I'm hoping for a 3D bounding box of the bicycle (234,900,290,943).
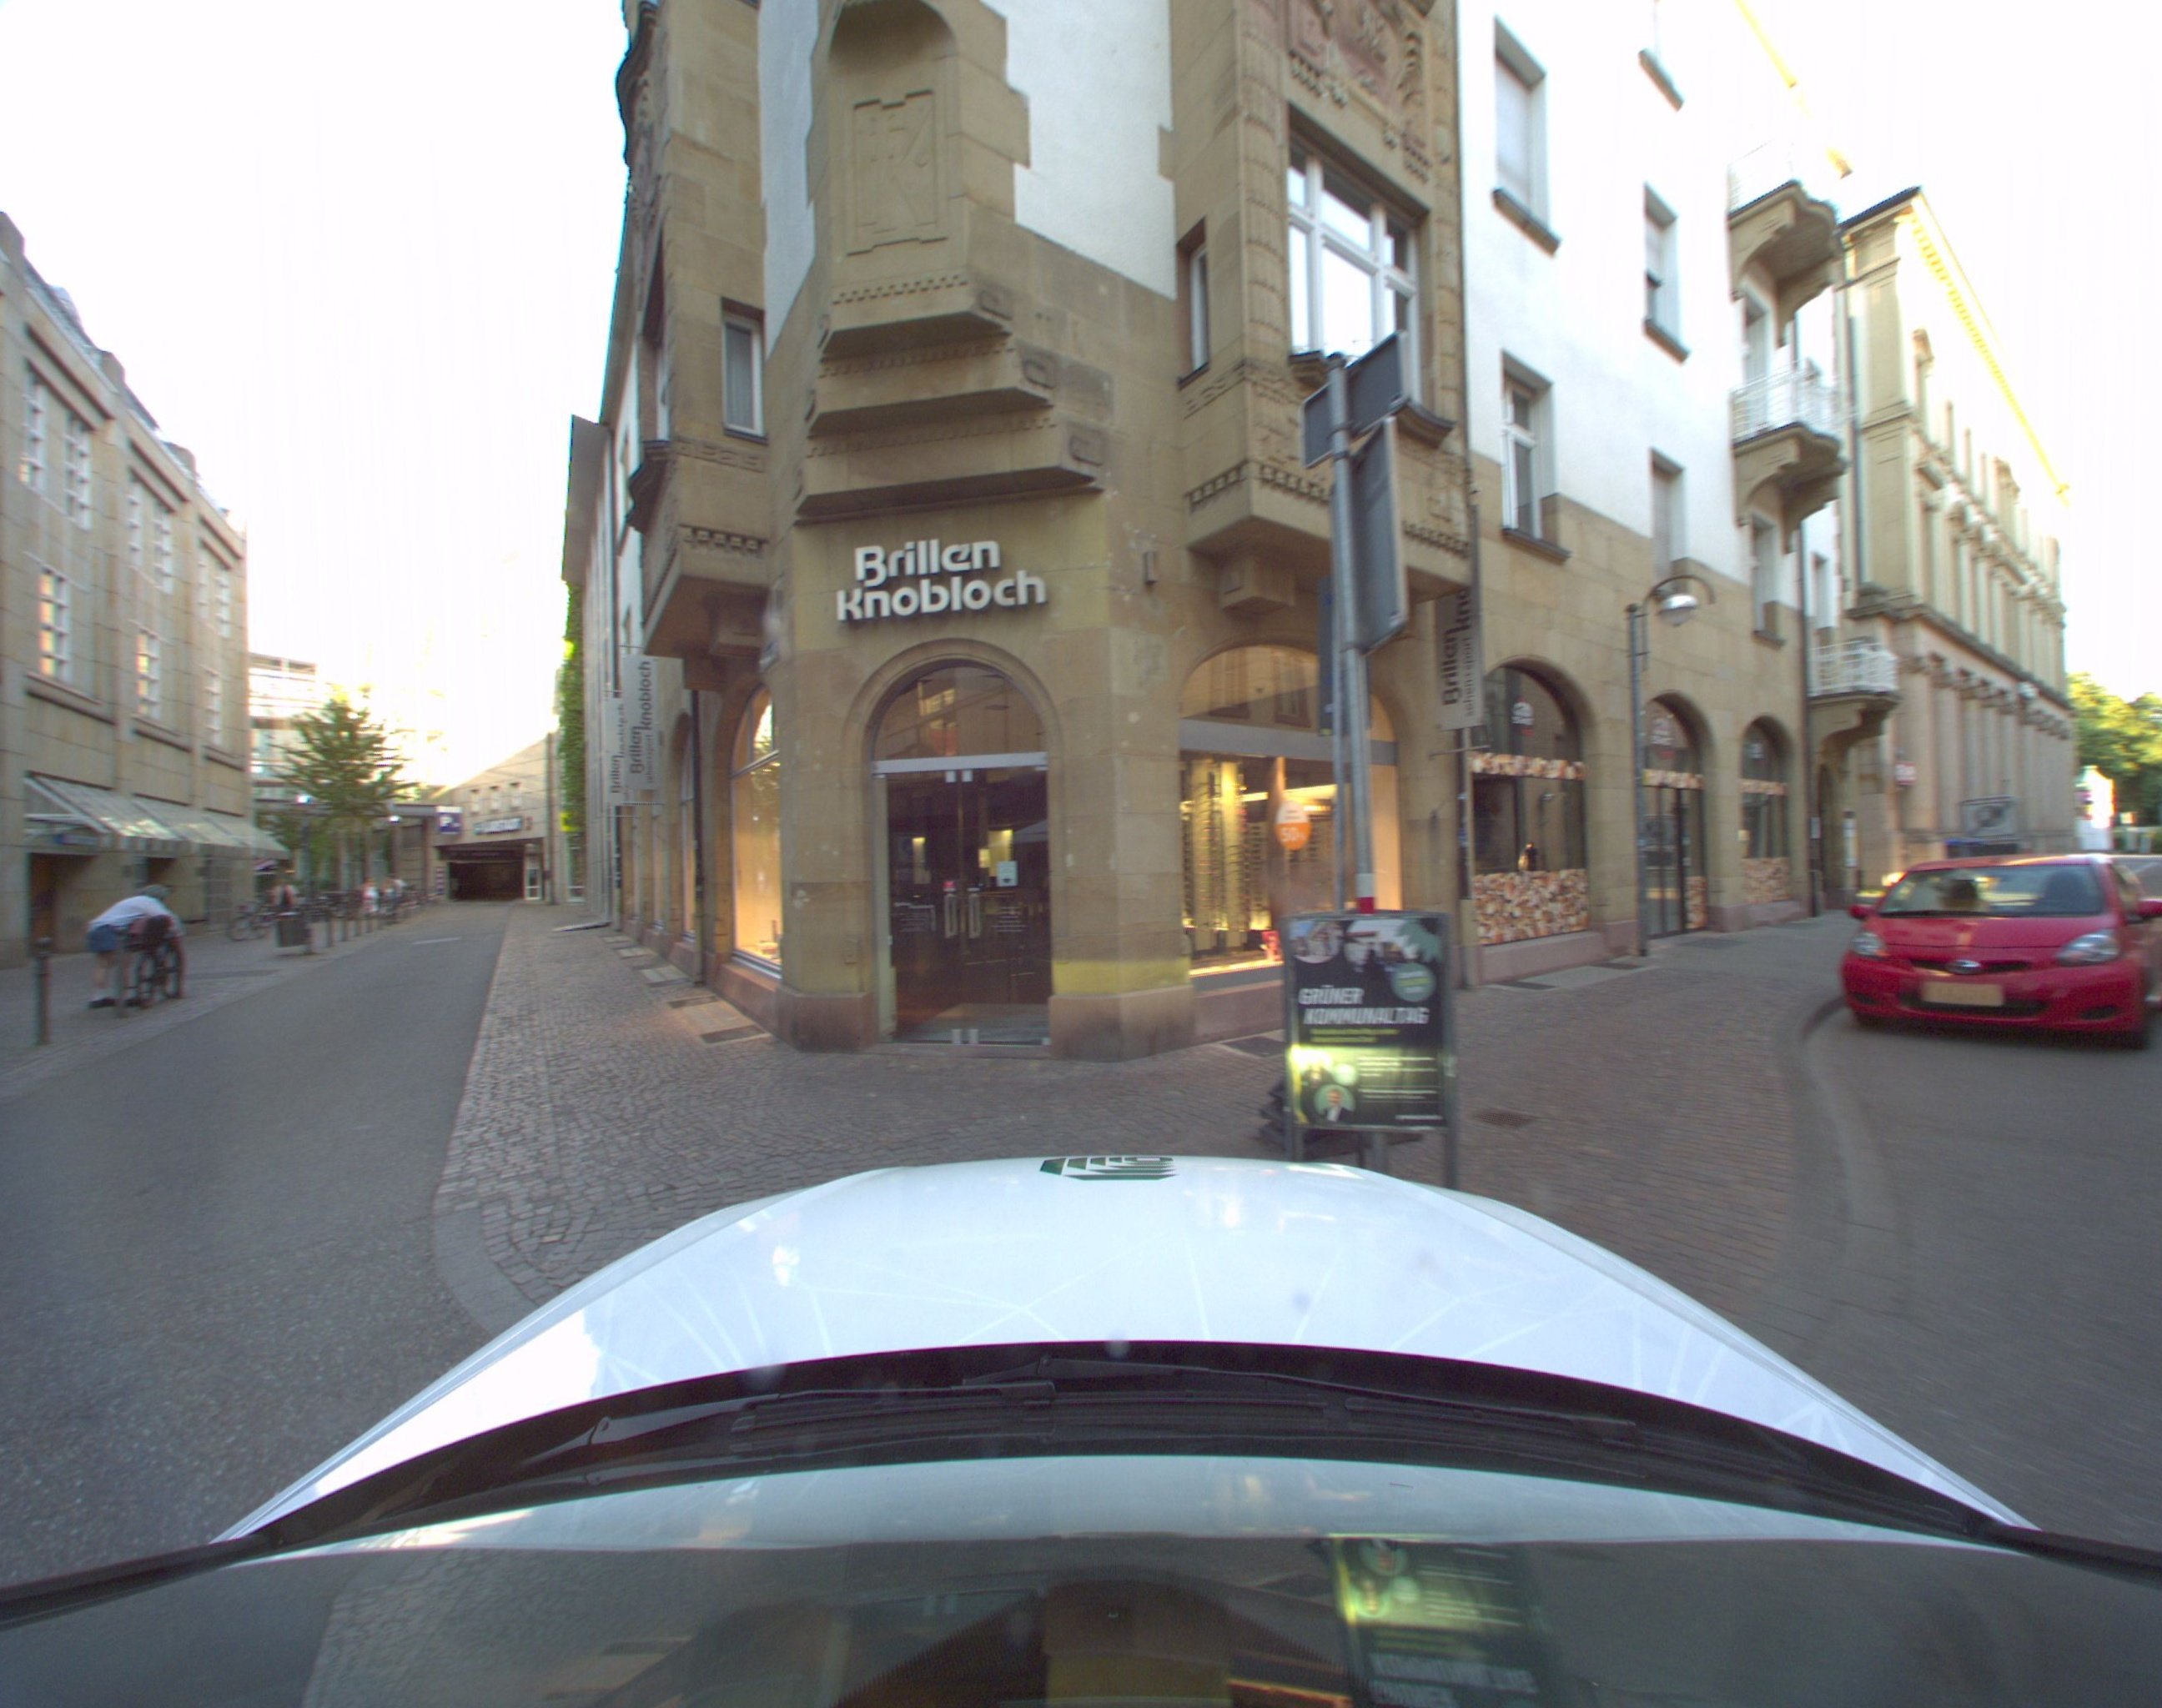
[{"bbox_3d":[-23.259,1.887,23.165,0.483,1.081,2.222,-2,-1,-28],"label":"bicycle"}]

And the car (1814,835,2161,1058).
[{"bbox_3d":[8.372,0.651,7.296,3.947,1.470,1.645,-2,-3,-33],"label":"car"}]

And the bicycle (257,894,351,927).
[{"bbox_3d":[-33.133,2.378,34.780,0.724,1.200,2.784,-2,-1,37],"label":"bicycle"}]

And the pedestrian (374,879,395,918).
[{"bbox_3d":[-28.880,1.833,33.792,0.589,1.604,0.621,-1,-2,-34],"label":"pedestrian"}]

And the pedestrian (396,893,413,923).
[{"bbox_3d":[-27.290,2.164,32.865,0.469,1.168,0.516,-1,-2,-34],"label":"pedestrian"}]

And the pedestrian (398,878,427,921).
[{"bbox_3d":[-28.158,1.892,34.327,0.870,1.757,0.790,-1,-2,-34],"label":"pedestrian"}]

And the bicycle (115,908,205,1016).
[{"bbox_3d":[-12.151,1.376,10.788,0.415,1.232,1.807,-1,-1,-37],"label":"bicycle"}]

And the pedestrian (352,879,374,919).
[{"bbox_3d":[-29.521,1.857,33.491,0.594,1.604,0.658,-1,-2,-34],"label":"pedestrian"}]

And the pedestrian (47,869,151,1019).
[{"bbox_3d":[-12.533,1.105,10.419,0.613,1.791,0.900,-1,-1,-36],"label":"pedestrian"}]

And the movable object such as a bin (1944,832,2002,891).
[{"bbox_3d":[23.685,0.196,21.623,1.296,1.503,0.823,-2,0,-34],"label":"movable object such as a bin"}]

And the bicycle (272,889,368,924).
[{"bbox_3d":[-31.074,2.122,33.313,0.724,1.200,2.784,-2,-1,37],"label":"bicycle"}]

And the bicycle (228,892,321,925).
[{"bbox_3d":[-35.209,2.358,35.603,0.724,1.200,2.784,-2,-1,37],"label":"bicycle"}]

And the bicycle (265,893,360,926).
[{"bbox_3d":[-32.230,2.302,34.198,0.724,1.200,2.784,-2,-1,37],"label":"bicycle"}]

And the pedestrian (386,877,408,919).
[{"bbox_3d":[-29.255,1.858,34.858,0.635,1.757,0.790,-1,-2,-34],"label":"pedestrian"}]

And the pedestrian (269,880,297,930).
[{"bbox_3d":[-28.782,1.823,29.382,0.609,1.764,0.662,-2,-1,42],"label":"pedestrian"}]
